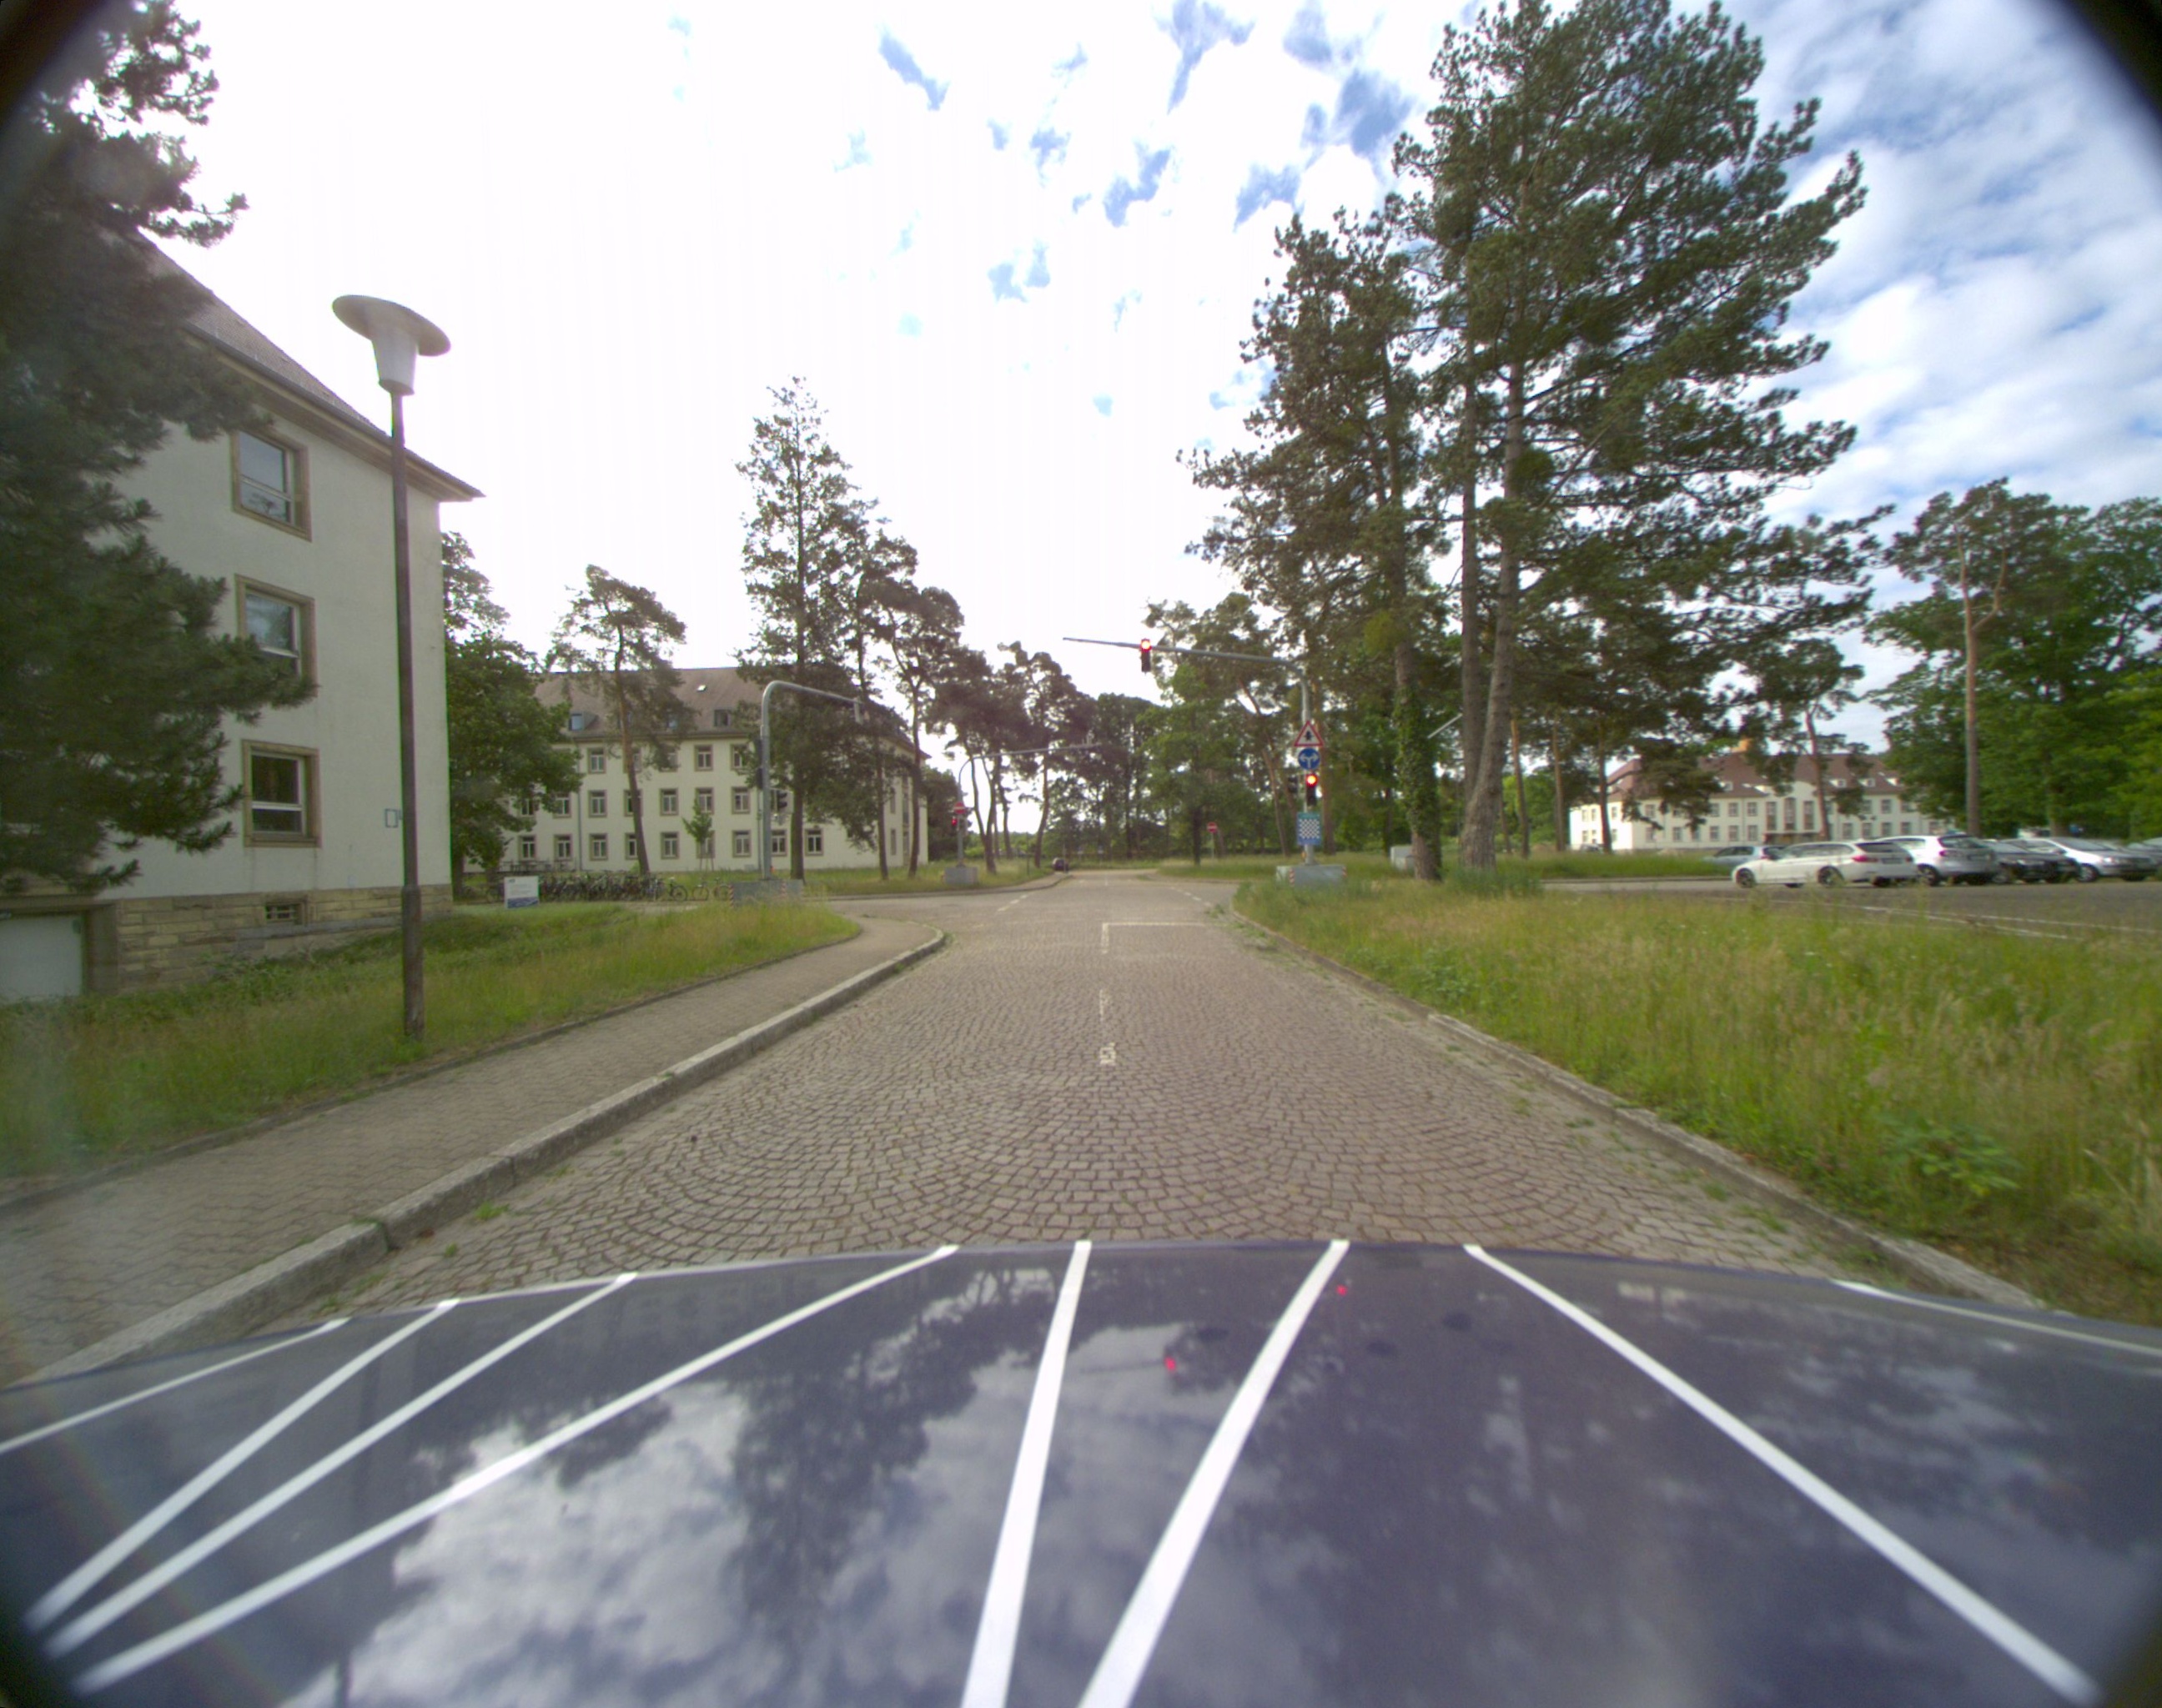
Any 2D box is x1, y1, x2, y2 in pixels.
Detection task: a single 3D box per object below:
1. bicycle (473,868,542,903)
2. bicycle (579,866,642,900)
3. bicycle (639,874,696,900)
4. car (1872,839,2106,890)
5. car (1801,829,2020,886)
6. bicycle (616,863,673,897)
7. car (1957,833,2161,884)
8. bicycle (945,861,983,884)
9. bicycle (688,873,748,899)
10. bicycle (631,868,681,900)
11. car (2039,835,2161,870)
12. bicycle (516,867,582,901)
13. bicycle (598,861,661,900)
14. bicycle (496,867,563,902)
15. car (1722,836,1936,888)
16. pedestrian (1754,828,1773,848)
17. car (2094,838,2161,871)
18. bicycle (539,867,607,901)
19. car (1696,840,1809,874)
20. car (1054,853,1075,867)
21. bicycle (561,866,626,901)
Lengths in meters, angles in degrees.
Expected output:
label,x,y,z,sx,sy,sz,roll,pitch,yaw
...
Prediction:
label,x,y,z,sx,sy,sz,roll,pitch,yaw
bicycle,-24.726,1.325,32.853,0.950,1.364,2.576,-1,0,1
bicycle,-20.636,1.242,33.425,0.950,1.364,2.812,-1,0,2
bicycle,-17.020,1.358,31.270,1.976,0.990,0.730,-1,1,6
car,28.405,0.277,24.074,1.883,1.414,4.634,-1,0,0
car,25.697,0.150,23.830,1.846,1.580,4.488,-1,-1,-1
bicycle,-18.859,1.114,32.898,0.873,1.359,2.628,-1,0,2
car,31.079,0.111,24.201,1.680,1.447,3.986,-1,0,-2
bicycle,-5.930,0.944,38.557,1.833,1.057,0.646,-1,4,-1
bicycle,-14.928,1.295,31.288,1.977,0.990,0.903,-1,0,1
bicycle,-18.252,1.268,32.693,0.873,1.299,2.120,-1,0,1
car,45.941,-0.077,33.813,1.795,1.427,3.936,-1,0,3
bicycle,-23.044,1.277,32.985,0.950,1.364,2.576,-1,0,1
bicycle,-19.714,1.118,33.269,0.950,1.574,2.812,-1,0,2
bicycle,-23.883,1.302,32.995,0.950,1.364,2.576,-1,0,1
car,23.093,0.312,23.806,1.912,1.430,4.823,-1,-2,0
pedestrian,74.961,-1.725,83.455,1.055,2.165,1.185,-1,1,2
car,48.958,0.031,34.115,1.795,1.441,3.936,-1,0,3
bicycle,-22.076,1.279,33.107,0.950,1.364,2.812,-1,0,2
car,30.564,0.125,34.771,1.795,1.410,4.001,-1,0,4
car,-1.872,0.664,87.917,1.998,1.524,4.001,-1,0,3
bicycle,-21.183,1.253,33.112,0.950,1.364,2.812,-1,0,2
